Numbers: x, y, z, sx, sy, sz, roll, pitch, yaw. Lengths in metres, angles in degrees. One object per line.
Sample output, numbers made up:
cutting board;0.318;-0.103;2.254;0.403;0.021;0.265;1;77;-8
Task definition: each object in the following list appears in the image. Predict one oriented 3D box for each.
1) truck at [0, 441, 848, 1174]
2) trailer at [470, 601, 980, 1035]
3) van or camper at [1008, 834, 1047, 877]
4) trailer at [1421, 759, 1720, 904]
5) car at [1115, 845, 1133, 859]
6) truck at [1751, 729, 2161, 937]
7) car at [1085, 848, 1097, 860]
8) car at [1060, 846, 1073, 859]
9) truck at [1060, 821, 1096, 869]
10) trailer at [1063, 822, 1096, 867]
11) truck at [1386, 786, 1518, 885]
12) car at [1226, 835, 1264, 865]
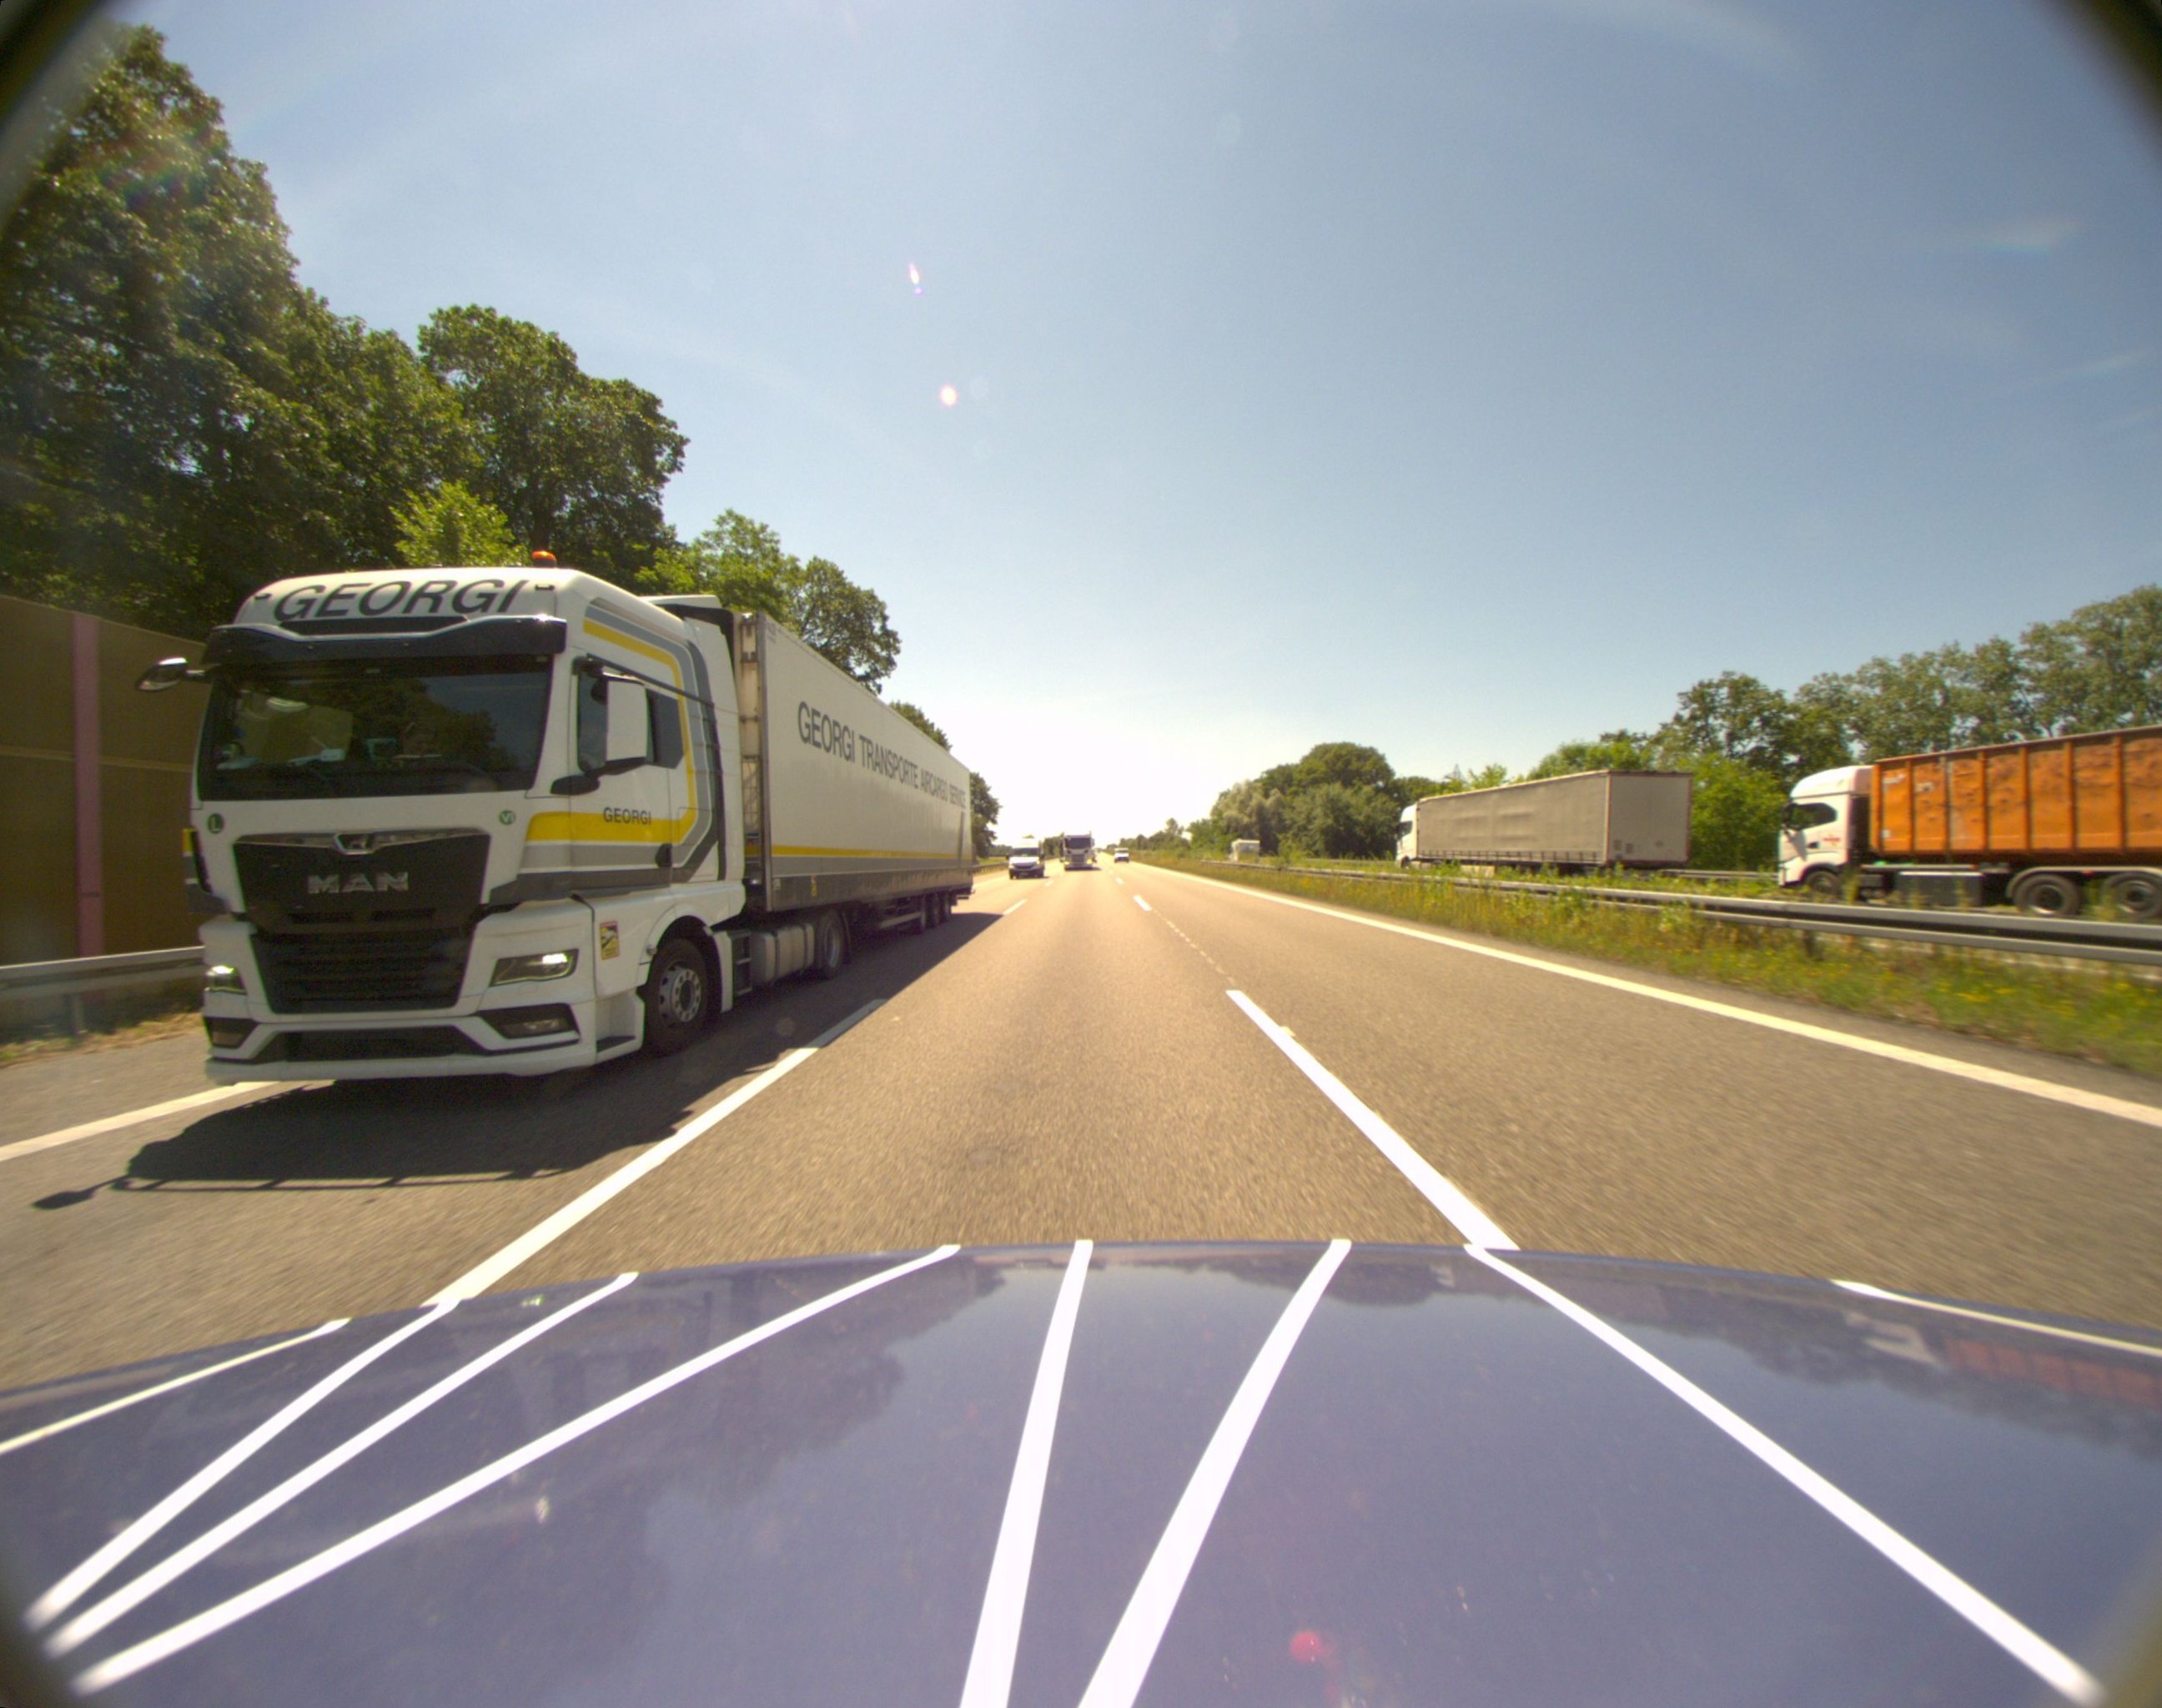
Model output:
truck;-4.545;-0.271;6.965;3.010;4.101;5.252;-2;1;1
trailer;-4.464;-0.399;14.349;3.001;4.264;13.417;-2;0;1
van or camper;-3.514;0.085;51.131;2.027;2.622;6.486;-2;1;1
trailer;17.855;-0.759;29.775;3.203;4.397;13.324;0;1;1
car;5.931;-0.246;105.270;2.147;1.810;5.267;-2;1;1
truck;21.425;-0.376;17.338;2.655;3.862;10.826;2;1;1
car;1.433;-0.023;109.784;1.796;1.696;4.000;0;1;1
car;-2.477;-0.256;127.395;1.998;2.002;4.867;0;1;1
truck;-0.183;-0.834;68.096;2.896;4.007;6.869;-2;1;1
trailer;-0.084;-0.943;73.422;2.927;4.018;7.316;-2;1;1
truck;17.968;-0.856;37.421;3.168;4.401;6.980;0;1;1
car;17.602;-0.458;82.036;2.553;2.964;8.085;-3;0;3
